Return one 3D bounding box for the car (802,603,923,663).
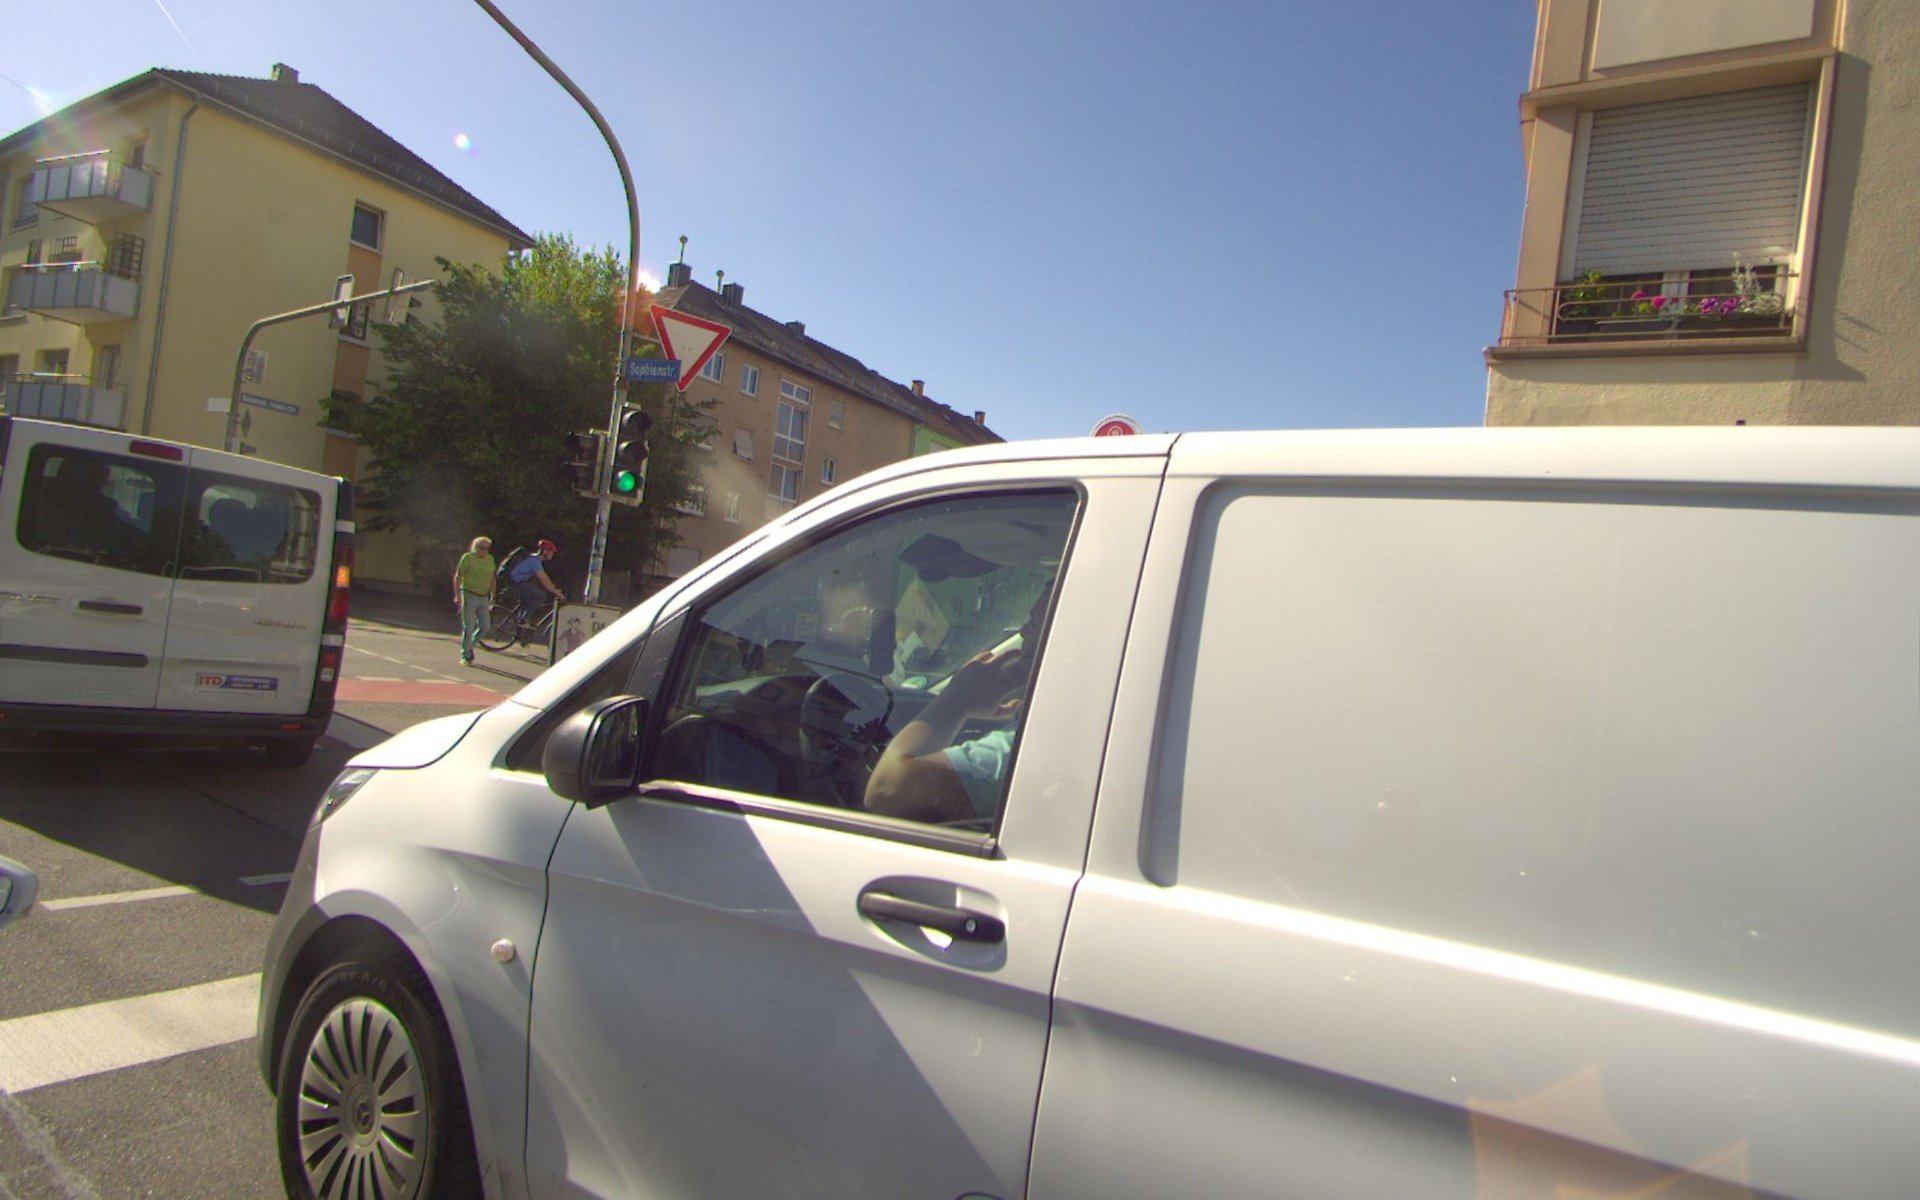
[{"bbox_3d":[-3.267,1.163,34.524,1.967,1.592,3.993,7,-1,32],"label":"car"}]

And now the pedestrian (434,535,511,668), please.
[{"bbox_3d":[-6.850,0.024,14.142,0.613,1.783,0.526,7,0,30],"label":"pedestrian"}]

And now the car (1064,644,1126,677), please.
[{"bbox_3d":[6.928,3.109,51.297,1.658,1.352,3.516,7,-1,33],"label":"car"}]

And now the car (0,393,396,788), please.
[{"bbox_3d":[-6.010,-0.101,7.368,1.964,1.961,4.995,10,-3,-43],"label":"car"}]

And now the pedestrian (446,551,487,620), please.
[{"bbox_3d":[-12.016,-0.342,24.505,0.530,1.590,0.540,7,0,32],"label":"pedestrian"}]

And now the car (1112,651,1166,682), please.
[{"bbox_3d":[9.954,3.695,55.768,1.658,1.352,3.516,7,-1,32],"label":"car"}]

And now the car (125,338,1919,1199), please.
[{"bbox_3d":[0.649,0.718,2.012,4.752,1.832,1.972,7,-1,31],"label":"car"}]

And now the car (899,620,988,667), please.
[{"bbox_3d":[-0.599,1.707,38.898,1.658,1.429,3.516,7,-1,32],"label":"car"}]

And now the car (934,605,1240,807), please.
[{"bbox_3d":[1.629,1.160,11.440,1.795,1.682,3.993,7,-1,32],"label":"car"}]

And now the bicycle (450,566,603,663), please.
[{"bbox_3d":[-7.178,0.254,16.692,2.118,1.270,0.797,9,0,-31],"label":"bicycle"}]

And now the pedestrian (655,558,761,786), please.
[{"bbox_3d":[-2.181,0.604,8.660,0.598,1.844,0.625,7,0,-22],"label":"pedestrian"}]

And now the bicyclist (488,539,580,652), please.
[{"bbox_3d":[-7.076,-0.080,16.706,1.114,1.669,0.797,9,0,-31],"label":"bicyclist"}]

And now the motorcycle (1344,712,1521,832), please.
[{"bbox_3d":[5.614,2.043,11.935,1.986,1.180,0.565,8,0,-21],"label":"motorcycle"}]

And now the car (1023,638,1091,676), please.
[{"bbox_3d":[4.635,2.725,47.701,1.658,1.429,3.516,7,-1,32],"label":"car"}]
